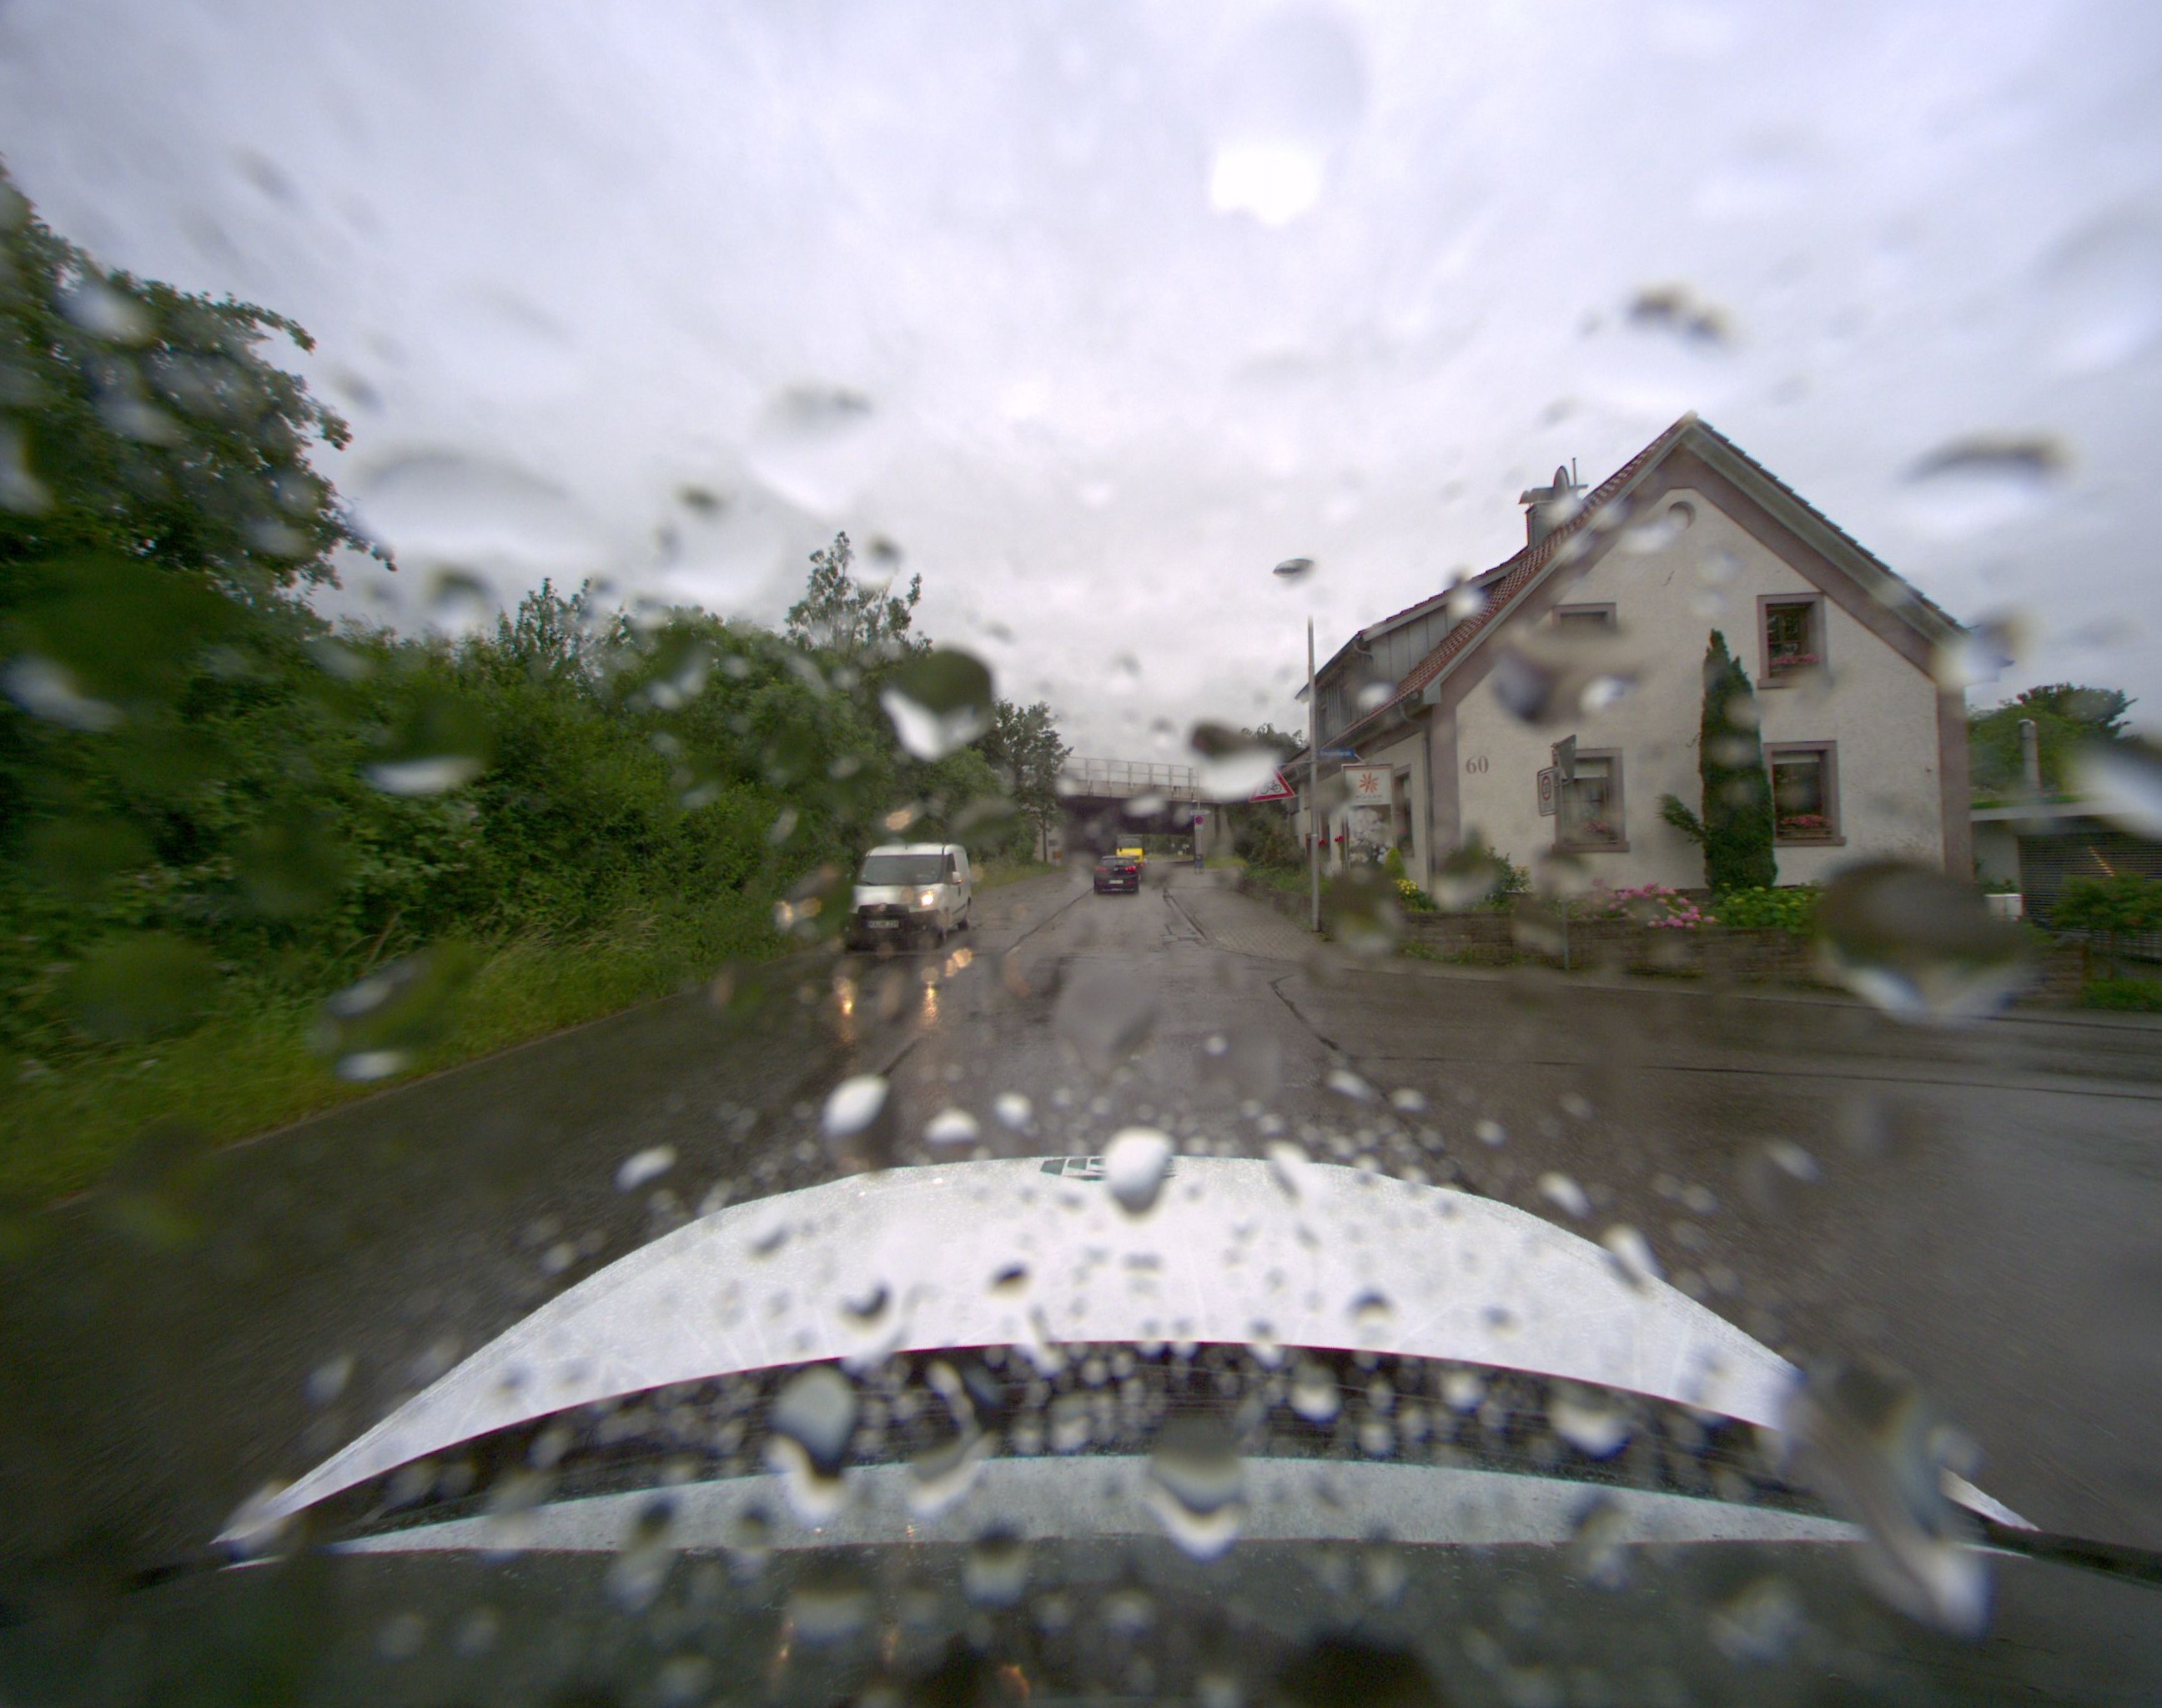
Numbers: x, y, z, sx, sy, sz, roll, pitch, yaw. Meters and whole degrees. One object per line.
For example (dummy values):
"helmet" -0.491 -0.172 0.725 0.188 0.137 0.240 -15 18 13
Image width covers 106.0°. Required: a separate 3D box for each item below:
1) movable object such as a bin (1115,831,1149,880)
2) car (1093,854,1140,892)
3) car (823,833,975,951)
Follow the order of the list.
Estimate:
"movable object such as a bin" 2.797 0.083 44.448 1.753 2.548 4.243 -1 0 4
"car" 1.459 0.707 32.342 1.701 1.377 4.004 -1 0 4
"car" -3.182 0.608 15.144 1.818 1.832 4.306 -1 0 0
